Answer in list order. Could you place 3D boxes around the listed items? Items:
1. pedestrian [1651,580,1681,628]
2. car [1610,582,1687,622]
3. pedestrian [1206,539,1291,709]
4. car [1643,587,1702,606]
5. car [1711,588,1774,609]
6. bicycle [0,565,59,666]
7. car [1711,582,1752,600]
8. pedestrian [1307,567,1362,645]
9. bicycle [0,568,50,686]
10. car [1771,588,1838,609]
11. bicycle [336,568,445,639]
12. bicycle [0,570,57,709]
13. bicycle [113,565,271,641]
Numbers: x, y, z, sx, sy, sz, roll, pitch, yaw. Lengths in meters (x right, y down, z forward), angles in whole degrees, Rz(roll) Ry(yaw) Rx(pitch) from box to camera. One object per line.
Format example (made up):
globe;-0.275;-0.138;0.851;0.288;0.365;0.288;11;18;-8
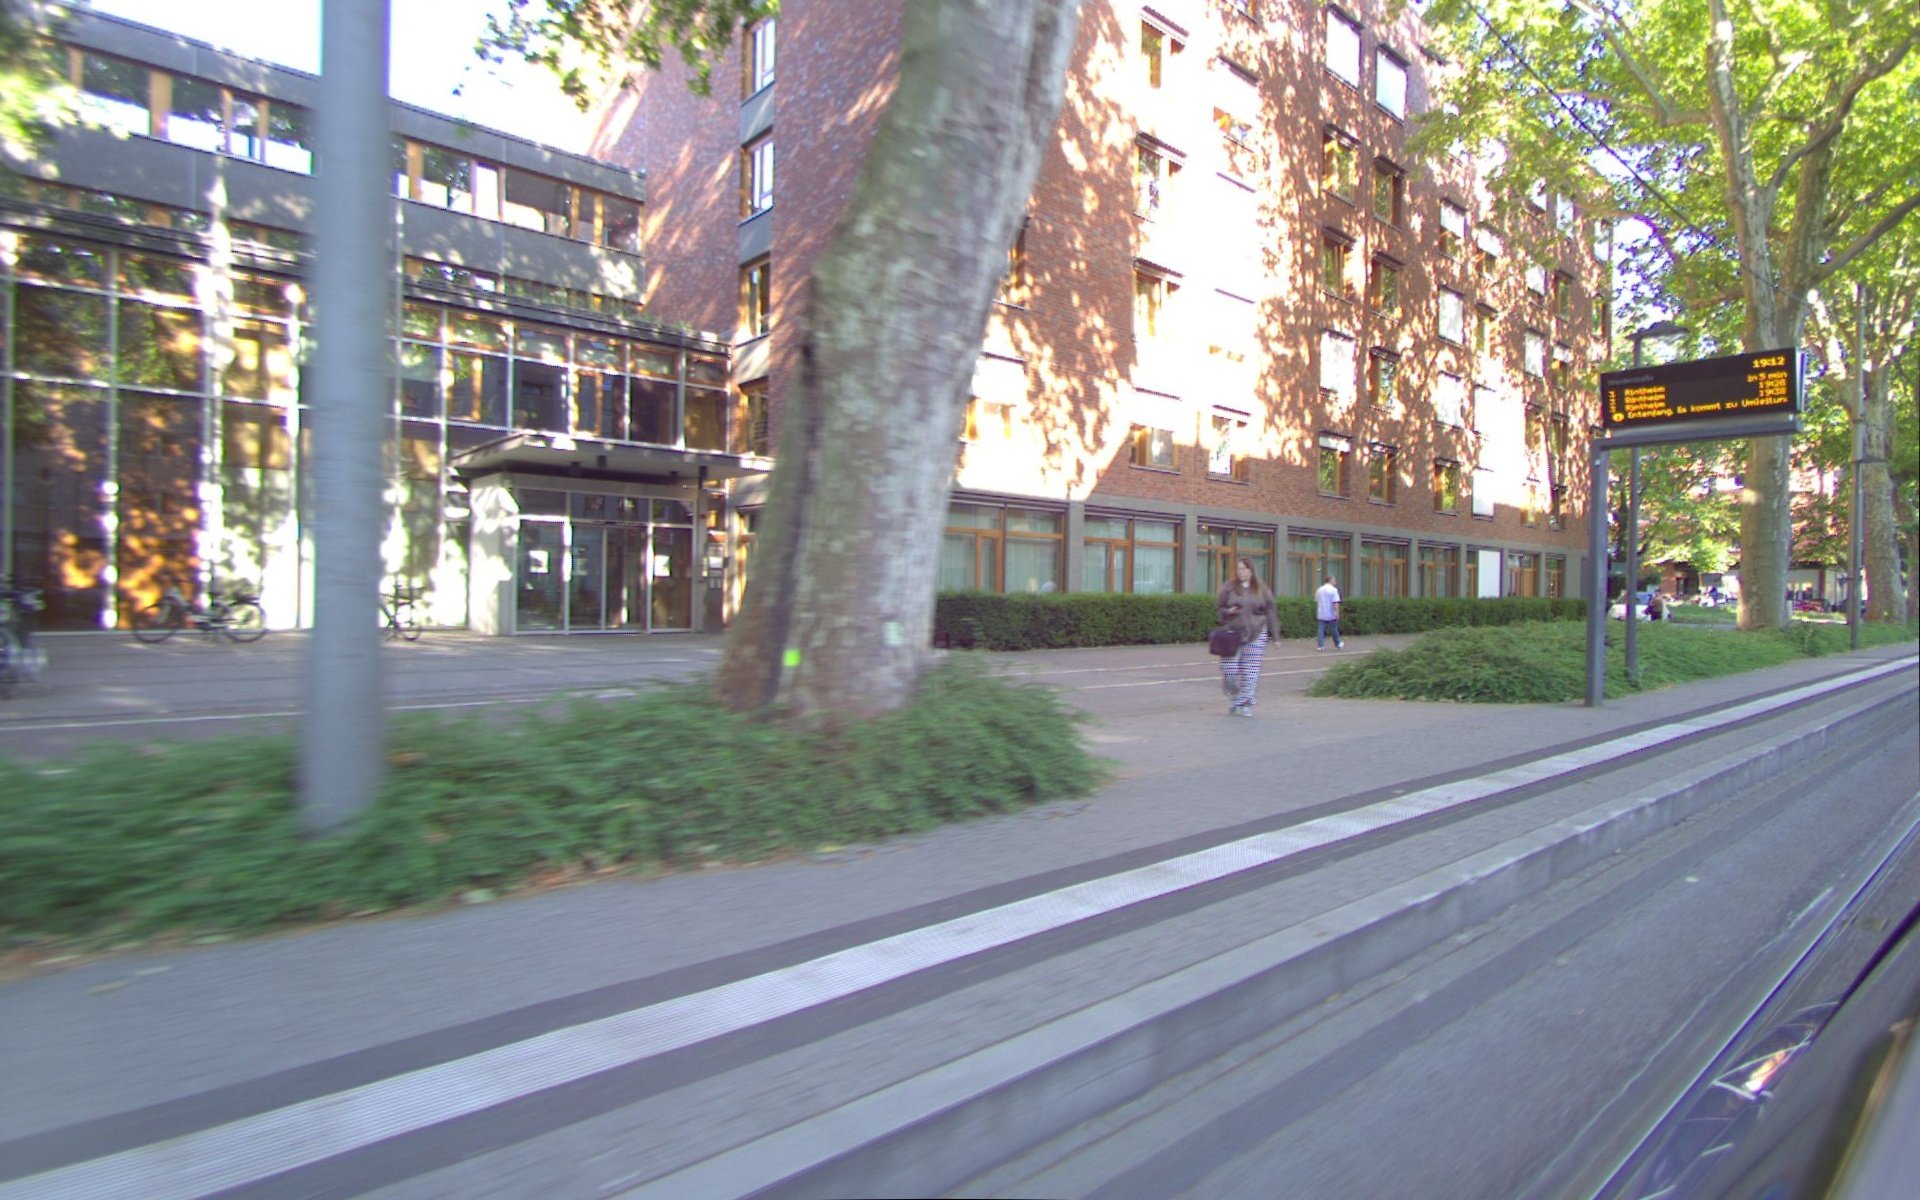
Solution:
pedestrian;25.475;0.134;36.509;0.736;1.712;0.710;0;1;-42
car;28.197;0.066;41.408;3.892;1.527;1.657;0;2;-41
pedestrian;2.978;0.227;10.544;0.757;1.680;0.914;1;1;12
car;60.089;-0.321;85.438;1.964;1.549;3.674;0;2;-39
car;63.173;-0.141;81.751;1.964;1.549;3.674;0;2;-39
bicycle;-11.990;0.167;12.897;0.561;1.171;1.684;0;3;-35
car;67.692;-0.795;88.781;3.610;1.549;1.999;0;1;-38
pedestrian;8.314;0.114;22.479;0.901;1.680;0.768;0;1;-40
bicycle;-10.765;0.259;11.357;0.561;1.171;2.039;0;3;-35
car;65.654;-0.117;78.735;1.964;1.549;3.674;0;2;-39
bicycle;-10.332;0.034;18.343;1.930;1.171;0.727;3;2;24
bicycle;-9.093;0.335;9.460;0.560;1.171;2.041;1;3;-30
bicycle;-12.572;0.046;16.641;1.997;1.171;0.709;0;2;-31
